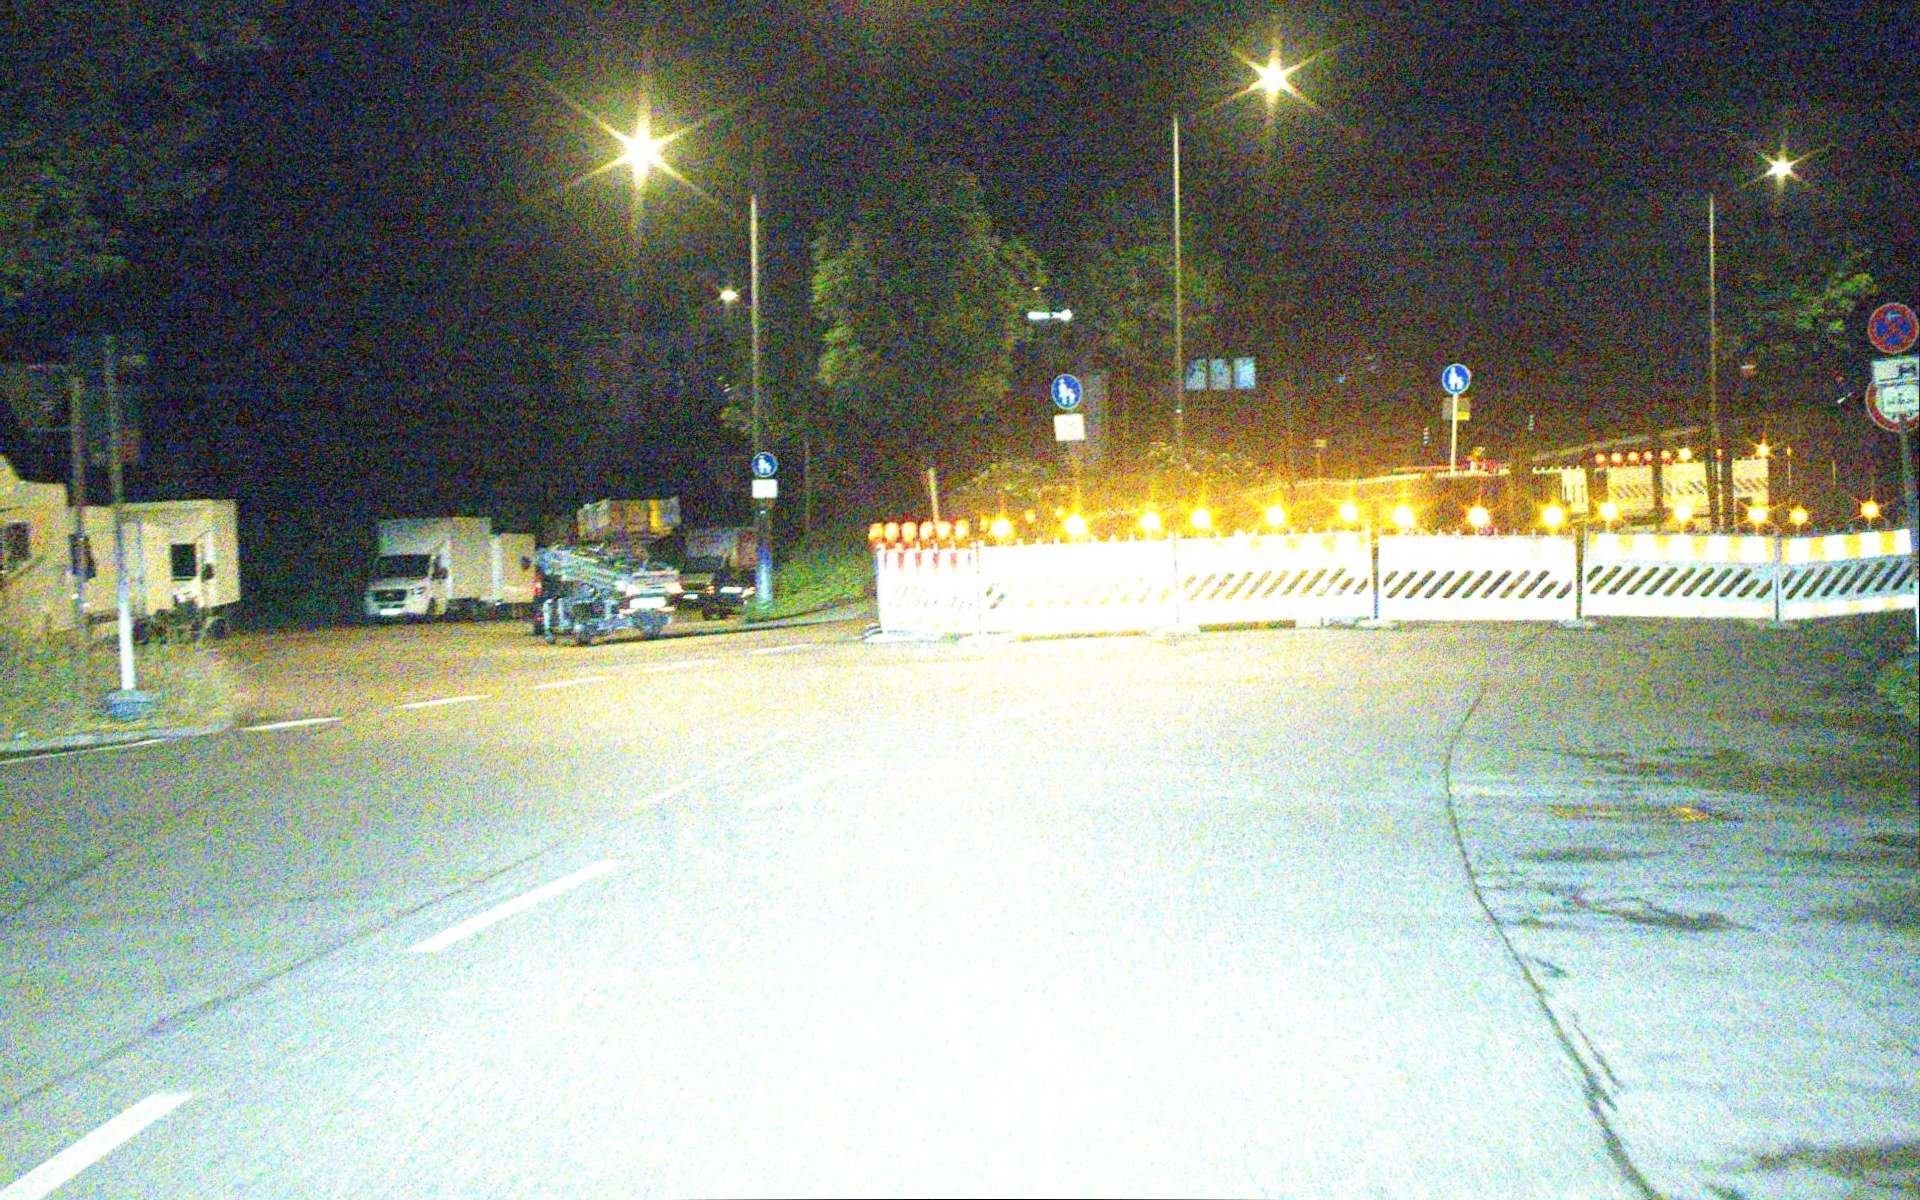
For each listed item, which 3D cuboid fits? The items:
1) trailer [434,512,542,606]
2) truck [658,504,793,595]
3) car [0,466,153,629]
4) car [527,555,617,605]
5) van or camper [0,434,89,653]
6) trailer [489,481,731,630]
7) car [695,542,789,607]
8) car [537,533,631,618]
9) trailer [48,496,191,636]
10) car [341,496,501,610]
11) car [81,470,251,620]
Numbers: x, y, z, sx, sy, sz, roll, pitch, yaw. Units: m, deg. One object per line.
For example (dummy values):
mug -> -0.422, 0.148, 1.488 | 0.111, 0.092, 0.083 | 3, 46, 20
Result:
trailer -> -15.130, -1.348, 110.527 | 1.994, 2.803, 4.701 | -2, 2, 10
truck -> -9.362, -2.073, 138.302 | 1.995, 3.392, 8.971 | 0, 2, 19
car -> -15.943, -0.908, 60.165 | 2.518, 2.597, 7.093 | -3, 2, -6
car -> -13.716, -0.713, 121.769 | 1.994, 1.693, 4.205 | -1, 1, 10
van or camper -> -14.890, -0.788, 50.542 | 2.519, 3.083, 7.446 | -3, 2, -3
trailer -> -5.611, -0.664, 54.451 | 1.559, 2.153, 5.221 | -4, 1, -32
car -> -6.190, -0.737, 98.005 | 1.721, 1.815, 3.998 | -1, 1, 11
car -> -7.561, -0.501, 69.403 | 1.720, 1.655, 4.001 | -1, 1, -4
trailer -> -16.254, -0.688, 66.648 | 1.993, 2.518, 3.569 | -4, 2, -4
car -> -16.213, -1.465, 103.946 | 2.520, 3.160, 7.136 | -3, 2, 9
car -> -16.923, -1.194, 73.678 | 2.518, 2.917, 7.203 | -3, 2, -6
